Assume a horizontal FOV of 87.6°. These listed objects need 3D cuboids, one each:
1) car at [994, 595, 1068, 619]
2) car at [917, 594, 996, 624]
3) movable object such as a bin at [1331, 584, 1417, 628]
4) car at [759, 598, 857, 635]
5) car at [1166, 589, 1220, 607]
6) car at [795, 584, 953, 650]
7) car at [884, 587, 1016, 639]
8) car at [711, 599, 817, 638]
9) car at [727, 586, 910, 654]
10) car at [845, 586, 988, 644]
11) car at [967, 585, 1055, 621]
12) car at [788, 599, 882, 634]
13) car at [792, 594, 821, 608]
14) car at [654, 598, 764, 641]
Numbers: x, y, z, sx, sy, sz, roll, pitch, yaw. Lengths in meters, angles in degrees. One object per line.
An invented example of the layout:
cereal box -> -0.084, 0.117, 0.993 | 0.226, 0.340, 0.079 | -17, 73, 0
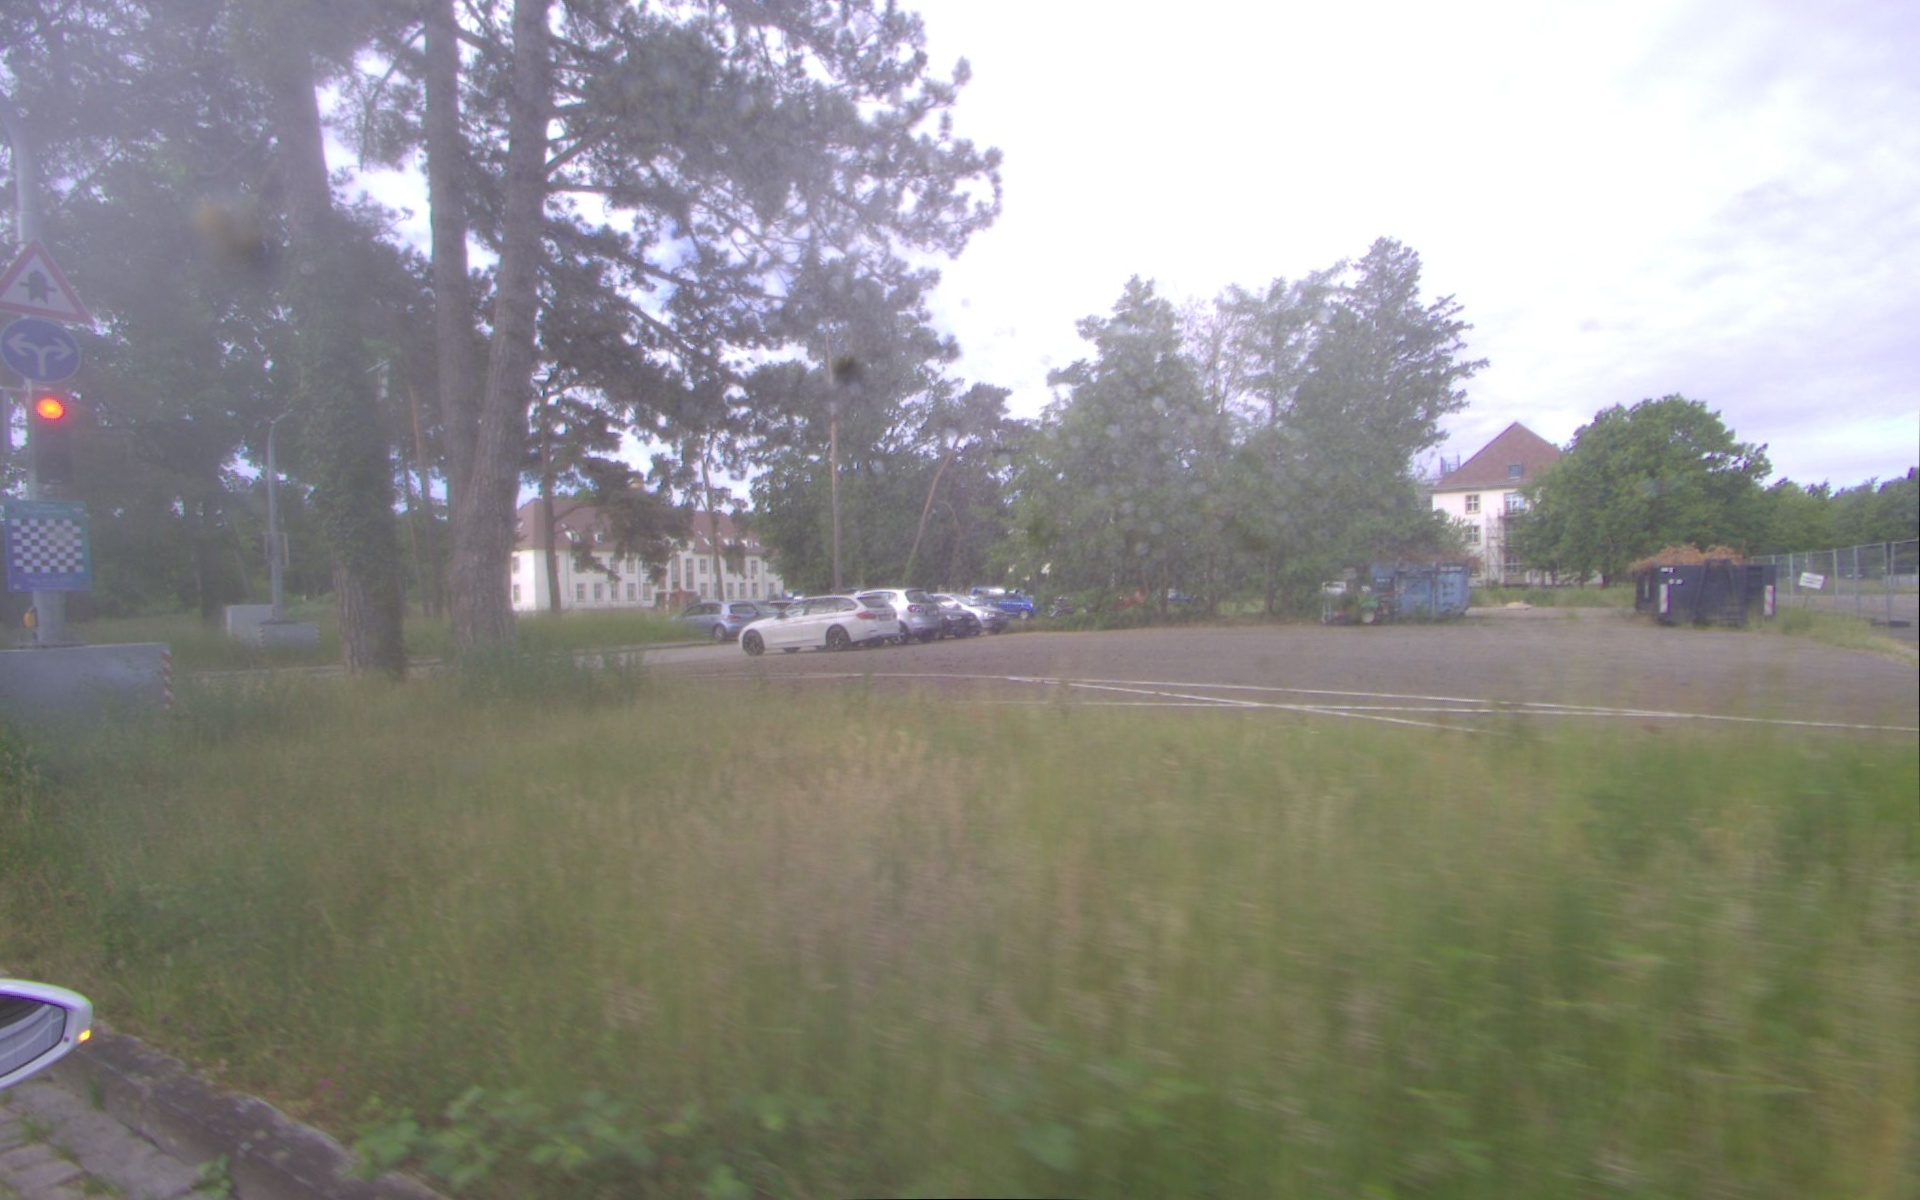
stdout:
car -> 4.264, 0.433, 60.687 | 4.184, 1.409, 1.729 | -1, 0, 34
car -> -0.208, 0.486, 54.170 | 4.189, 1.522, 1.610 | -1, 1, 37
movable object such as a bin -> 11.439, 0.180, 27.714 | 2.176, 1.149, 0.960 | -1, -1, 23
car -> -6.506, 0.708, 42.797 | 4.189, 1.487, 1.727 | -1, 1, 37
car -> 20.290, -0.182, 87.226 | 4.183, 1.542, 1.730 | -1, 1, 32
car -> -2.476, 0.487, 28.671 | 4.181, 1.626, 1.779 | -4, -1, 29
car -> -0.365, 0.446, 33.676 | 4.186, 1.504, 1.696 | -4, -1, 33
car -> -7.941, 0.745, 40.442 | 4.184, 1.487, 1.730 | -1, 1, 33
car -> -3.743, 0.563, 26.351 | 4.542, 1.505, 1.846 | -4, -2, 29
car -> -1.372, 0.481, 31.078 | 4.186, 1.504, 1.696 | -4, -1, 33
car -> 2.986, 0.181, 58.590 | 4.724, 2.053, 2.131 | -1, 1, 33
car -> -5.639, 0.740, 45.051 | 4.189, 1.487, 1.727 | -1, 1, 37
car -> -21.455, 0.151, 139.994 | 1.899, 1.930, 4.056 | -1, -1, 29
car -> -9.654, 0.734, 38.413 | 4.184, 1.529, 1.730 | -1, 1, 33
